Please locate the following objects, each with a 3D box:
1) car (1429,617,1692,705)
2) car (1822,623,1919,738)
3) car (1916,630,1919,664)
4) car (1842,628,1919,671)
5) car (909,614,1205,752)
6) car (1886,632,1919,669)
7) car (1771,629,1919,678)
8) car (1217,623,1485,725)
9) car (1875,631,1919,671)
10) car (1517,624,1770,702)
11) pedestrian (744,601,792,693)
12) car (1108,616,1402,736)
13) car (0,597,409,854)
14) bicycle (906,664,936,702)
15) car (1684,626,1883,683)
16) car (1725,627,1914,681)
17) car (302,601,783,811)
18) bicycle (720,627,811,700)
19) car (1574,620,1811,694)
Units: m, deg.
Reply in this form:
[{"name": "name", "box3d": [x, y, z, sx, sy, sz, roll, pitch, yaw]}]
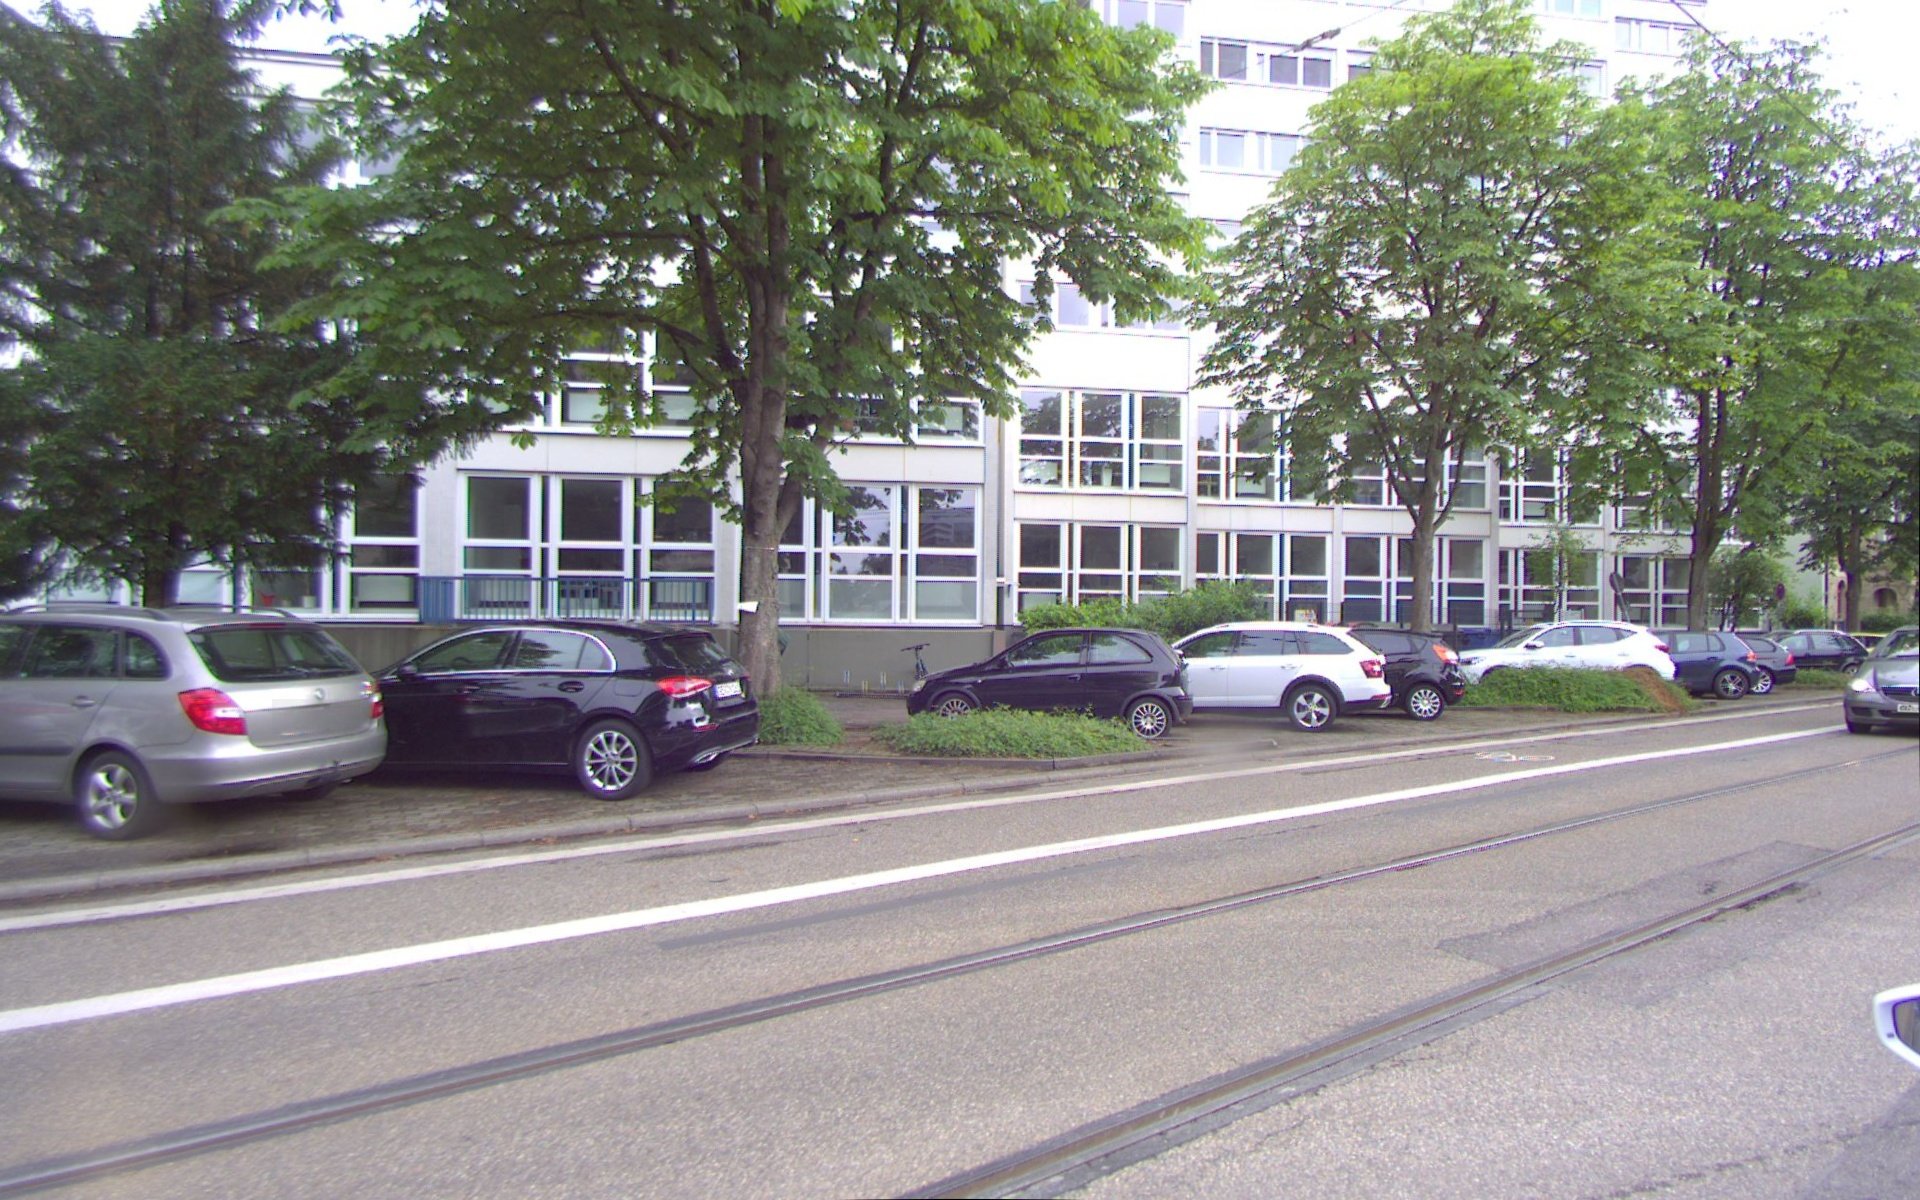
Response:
[{"name": "car", "box3d": [12.132, 1.194, 20.539, 4.258, 1.577, 1.701, 1, 0, 7]}, {"name": "car", "box3d": [14.354, 1.115, 14.579, 3.716, 1.550, 1.889, 1, -3, -34]}, {"name": "car", "box3d": [41.595, 1.994, 40.833, 3.655, 1.404, 1.696, 1, 0, 33]}, {"name": "car", "box3d": [32.466, 1.686, 33.775, 3.888, 1.370, 1.701, 1, 0, 11]}, {"name": "car", "box3d": [1.324, 1.017, 13.248, 3.630, 1.544, 1.701, 1, 0, 12]}, {"name": "car", "box3d": [38.923, 2.022, 39.306, 3.655, 1.404, 1.696, 1, 0, 33]}, {"name": "car", "box3d": [27.988, 1.654, 31.276, 3.888, 1.370, 1.701, 1, 0, 11]}, {"name": "car", "box3d": [6.391, 1.158, 16.763, 3.949, 1.424, 1.700, 1, 0, 19]}, {"name": "car", "box3d": [36.676, 1.936, 37.349, 3.655, 1.404, 1.696, 1, 0, 33]}, {"name": "car", "box3d": [14.932, 1.341, 22.172, 4.258, 1.473, 1.701, 1, 0, 11]}, {"name": "pedestrian", "box3d": [-3.546, 0.861, 18.618, 0.741, 1.633, 0.733, 3, 0, -7]}, {"name": "car", "box3d": [4.333, 1.042, 14.964, 3.949, 1.504, 1.700, 1, 0, 19]}, {"name": "car", "box3d": [-6.225, 0.782, 7.442, 3.577, 1.544, 1.574, 1, 0, 12]}, {"name": "bicycle", "box3d": [-0.734, 1.543, 18.768, 0.340, 0.543, 1.264, 0, 3, -13]}, {"name": "car", "box3d": [22.725, 1.471, 27.866, 3.888, 1.370, 1.701, 1, 0, 11]}, {"name": "car", "box3d": [25.359, 1.565, 29.762, 3.888, 1.370, 1.701, 1, 0, 11]}, {"name": "car", "box3d": [-3.635, 0.829, 8.997, 3.630, 1.544, 1.701, 1, 0, 12]}, {"name": "bicycle", "box3d": [-3.491, 1.128, 18.015, 1.569, 1.285, 0.405, 1, -1, -14]}, {"name": "car", "box3d": [17.483, 1.334, 24.179, 4.258, 1.556, 1.701, 1, 0, 11]}]
